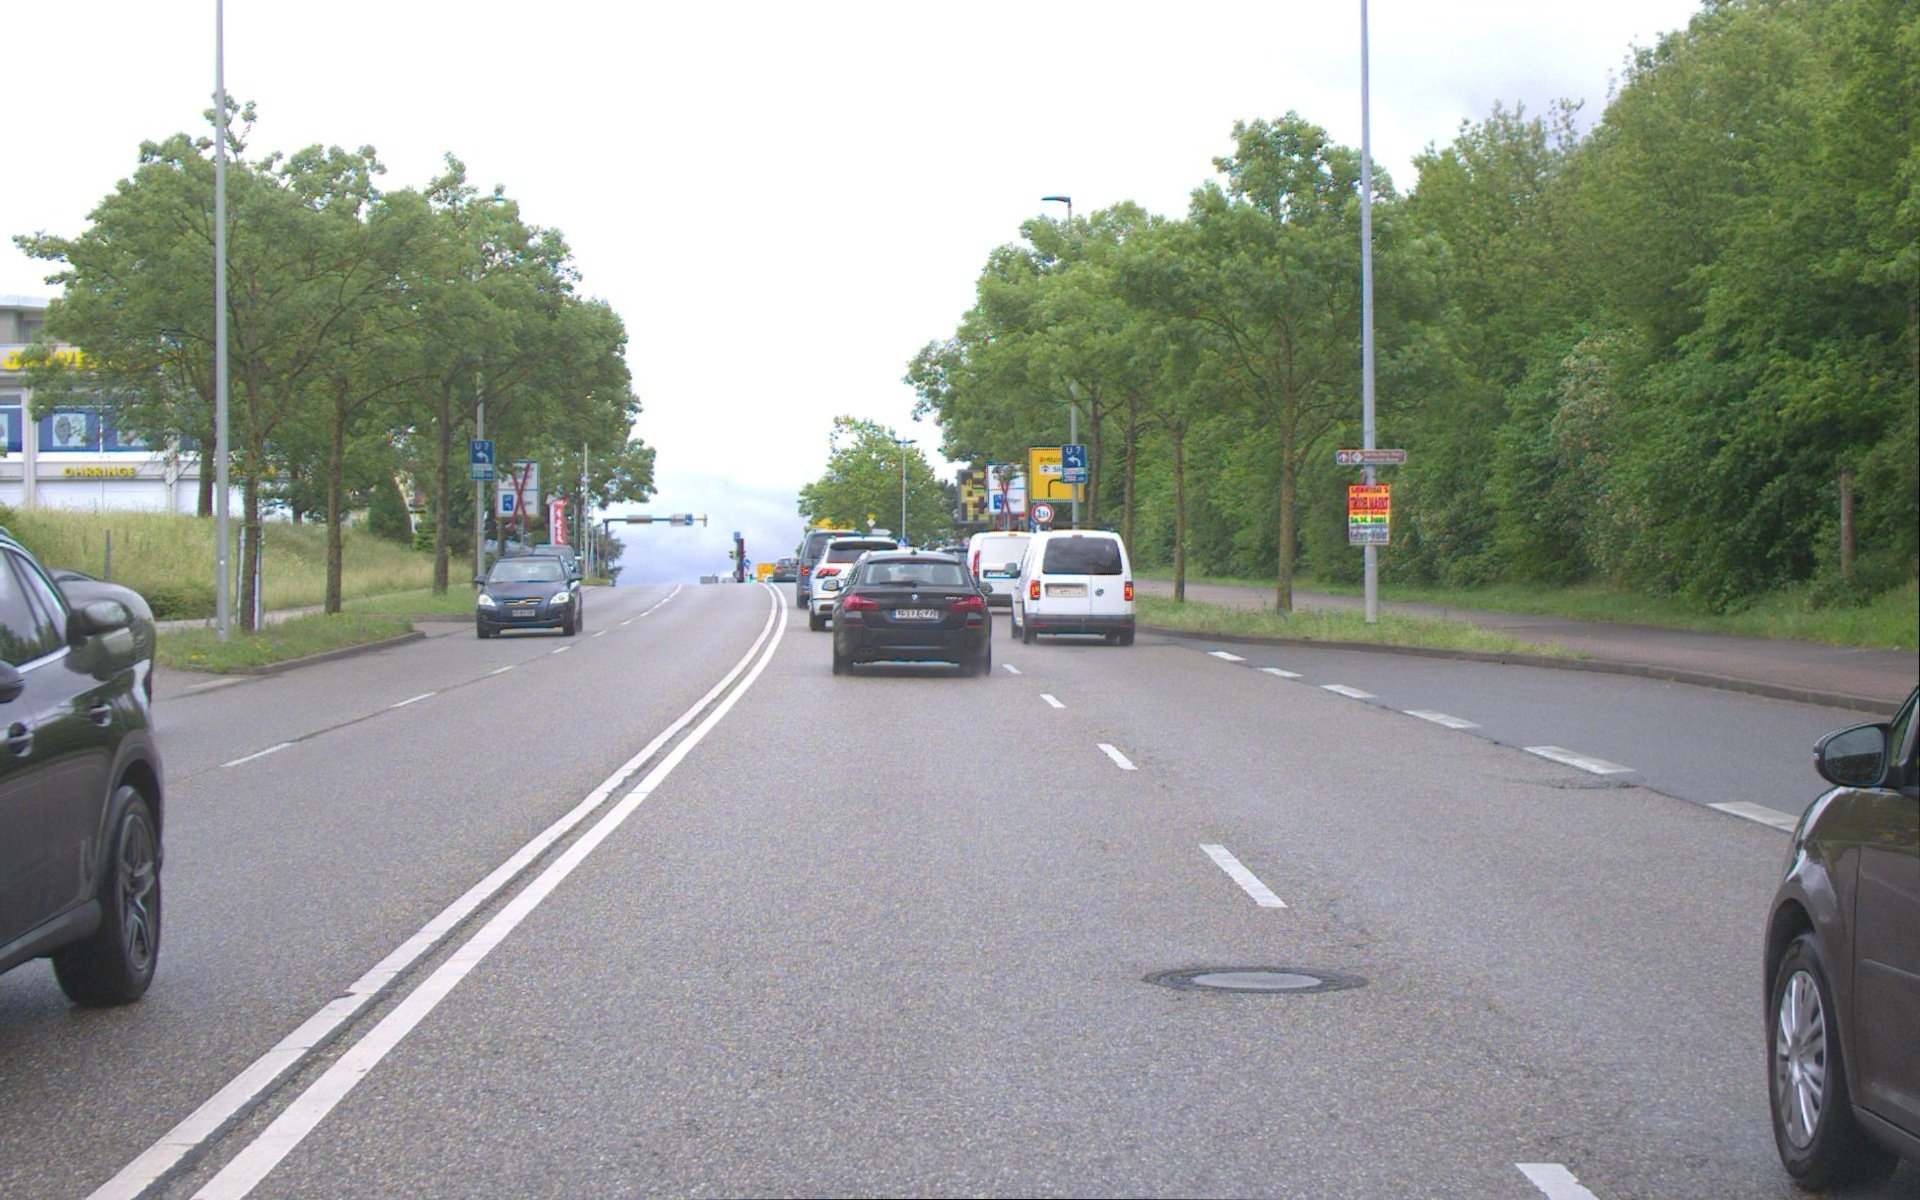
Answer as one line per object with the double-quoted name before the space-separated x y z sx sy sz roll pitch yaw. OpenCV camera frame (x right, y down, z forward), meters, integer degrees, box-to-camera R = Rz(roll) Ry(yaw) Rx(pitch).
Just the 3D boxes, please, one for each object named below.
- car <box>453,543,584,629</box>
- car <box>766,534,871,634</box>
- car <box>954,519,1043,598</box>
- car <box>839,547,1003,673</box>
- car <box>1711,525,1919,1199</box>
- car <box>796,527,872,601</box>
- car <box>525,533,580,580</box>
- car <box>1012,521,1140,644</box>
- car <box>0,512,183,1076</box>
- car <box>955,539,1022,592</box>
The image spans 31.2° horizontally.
"car" -8.073 -0.284 63.142 1.737 1.449 4.000 -2 1 2
"car" -2.487 -0.309 60.998 1.728 1.705 3.382 1 1 -1
"car" 0.837 -0.938 77.165 1.814 1.702 3.946 -1 1 -2
"car" -0.489 0.081 41.129 1.855 1.414 3.957 1 1 -1
"car" 2.811 0.654 6.630 1.714 1.591 4.131 0 1 -1
"car" -2.993 -0.865 82.070 1.758 1.702 3.946 -1 1 -2
"car" -14.906 -1.619 126.041 1.726 1.662 4.488 1 1 -4
"car" 1.814 -0.296 54.718 1.741 1.863 3.946 1 1 -2
"car" -3.637 0.569 9.856 1.858 1.572 4.321 -2 1 -1
"car" 0.752 -0.932 92.268 1.600 1.367 3.680 -1 1 -2
